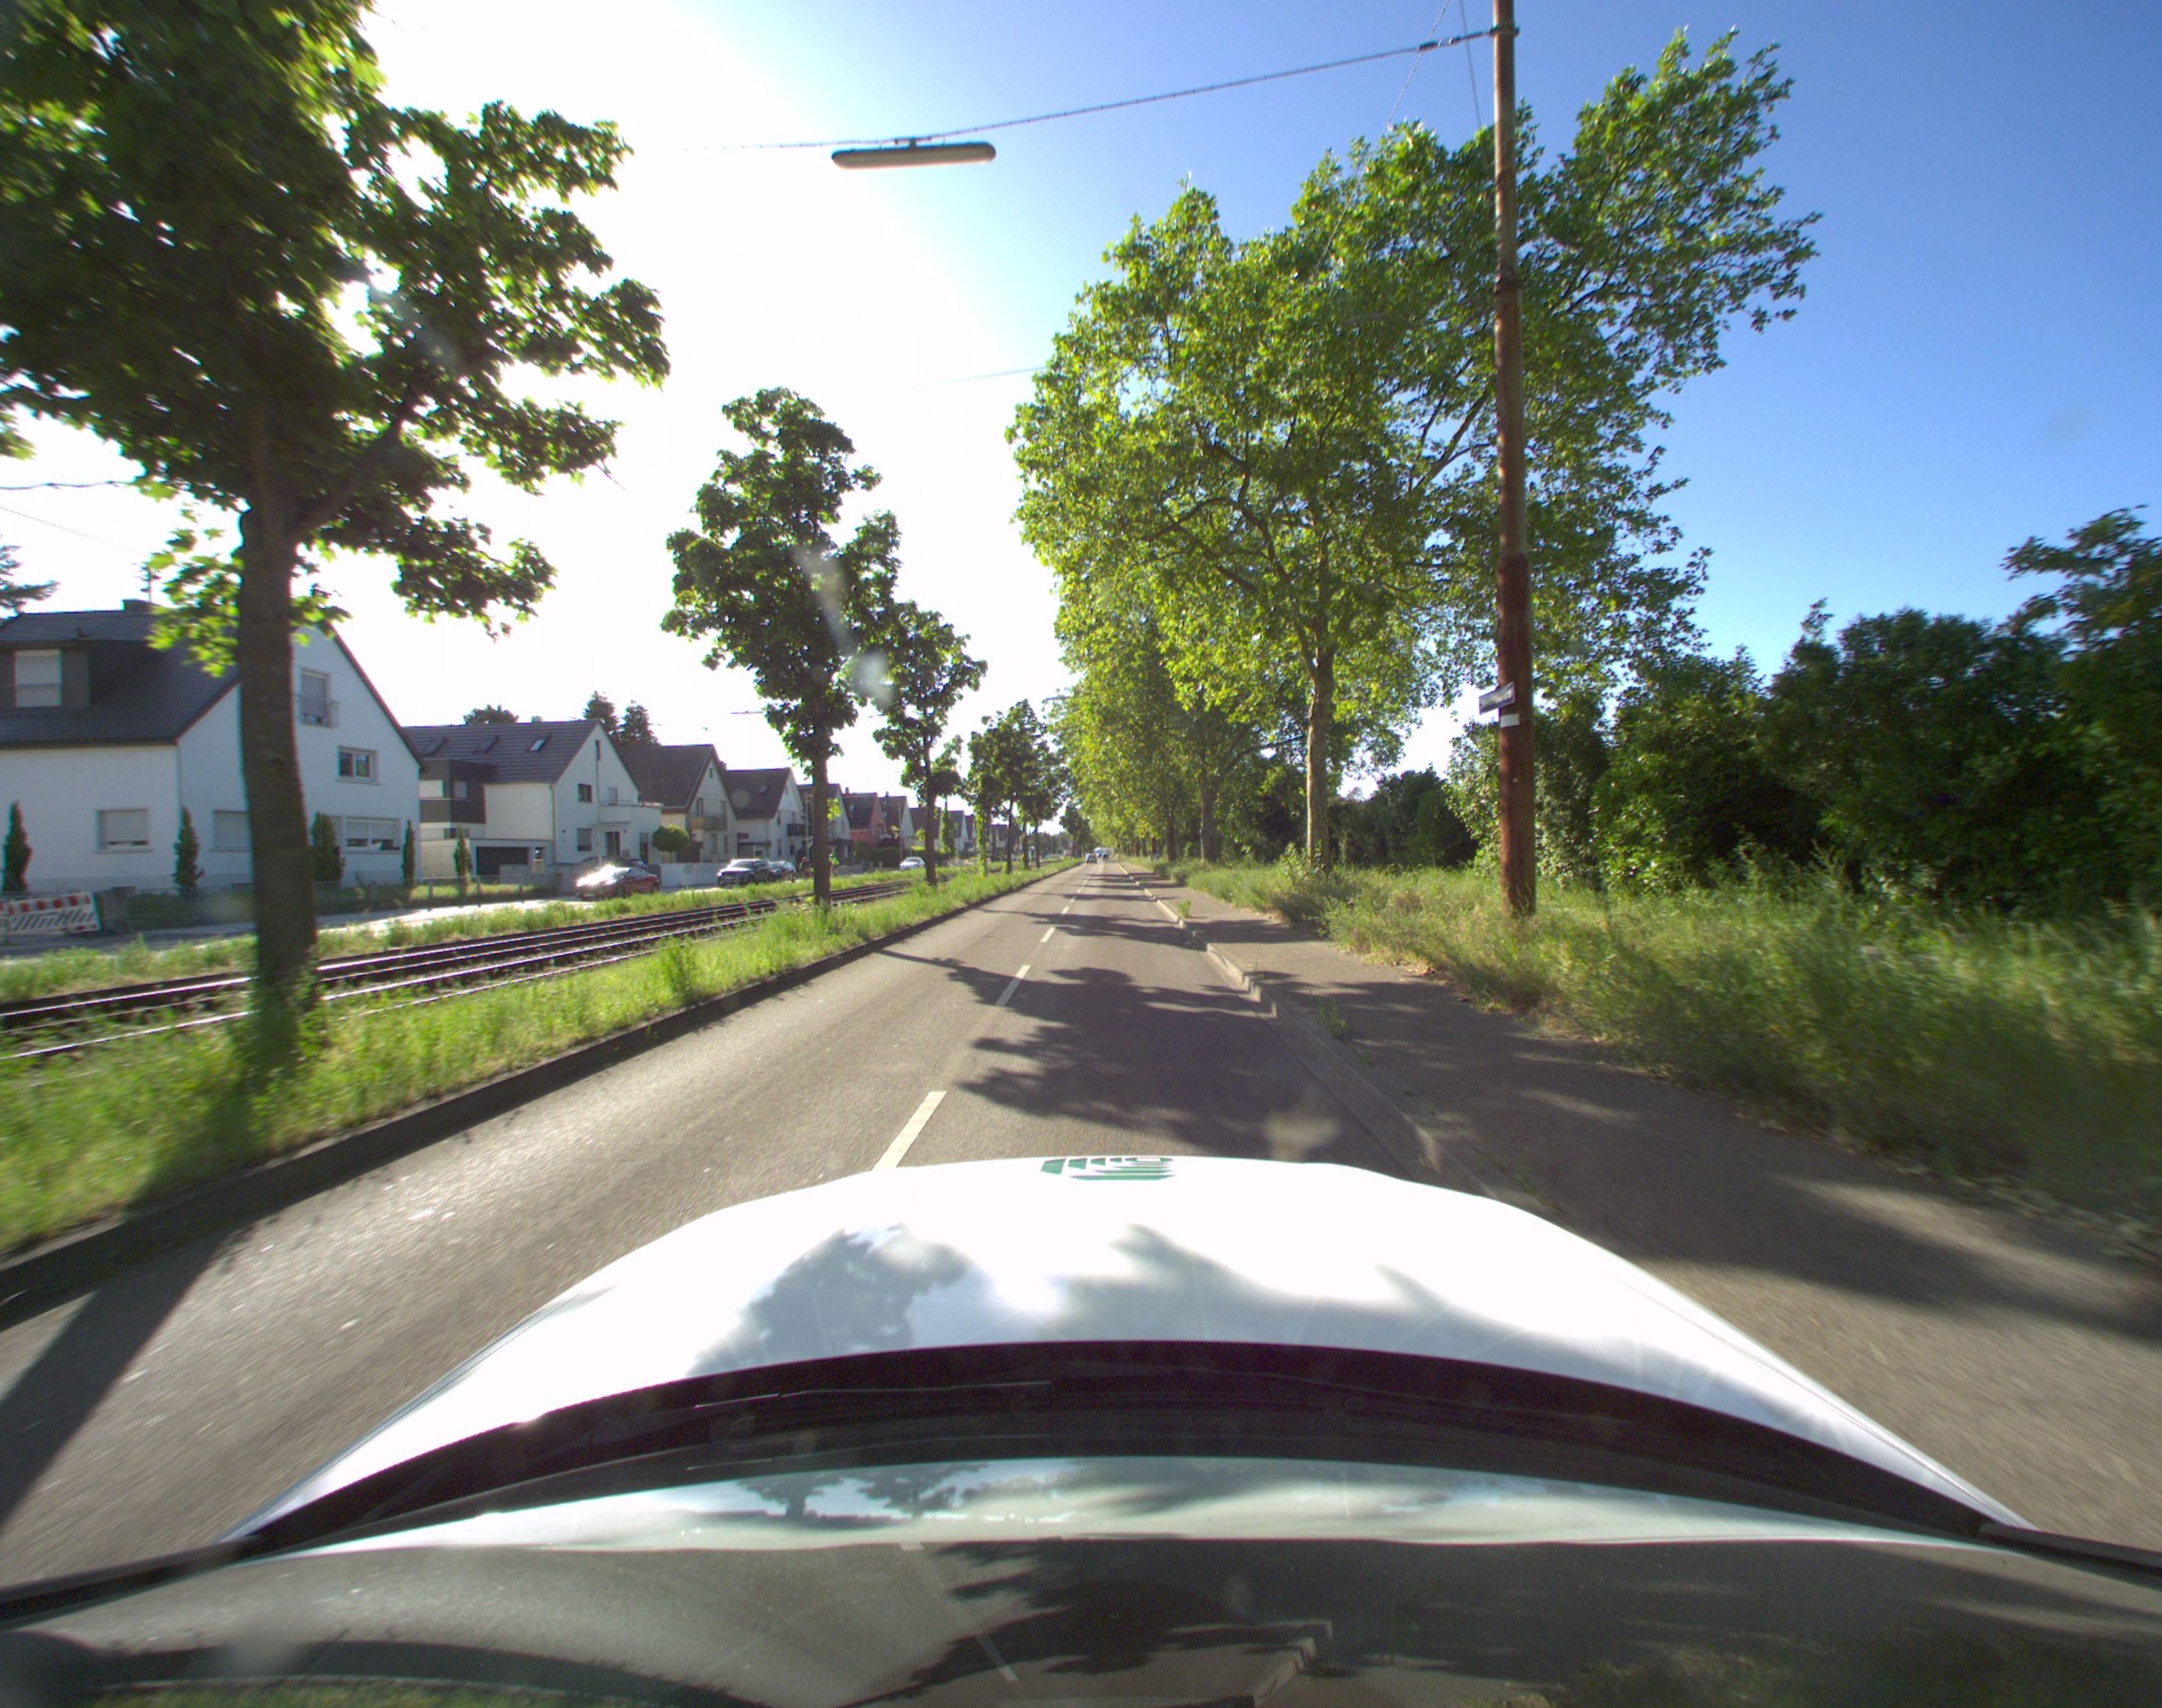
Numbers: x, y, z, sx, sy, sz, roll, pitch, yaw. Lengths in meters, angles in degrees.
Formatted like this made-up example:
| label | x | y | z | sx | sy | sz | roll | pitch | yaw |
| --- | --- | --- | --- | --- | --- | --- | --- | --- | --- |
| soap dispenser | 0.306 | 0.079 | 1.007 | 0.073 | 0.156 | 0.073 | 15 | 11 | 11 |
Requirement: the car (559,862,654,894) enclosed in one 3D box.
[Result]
| label | x | y | z | sx | sy | sz | roll | pitch | yaw |
| --- | --- | --- | --- | --- | --- | --- | --- | --- | --- |
| car | -25.661 | 1.276 | 44.150 | 3.977 | 1.669 | 1.998 | -1 | 0 | -3 |

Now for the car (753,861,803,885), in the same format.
| label | x | y | z | sx | sy | sz | roll | pitch | yaw |
| --- | --- | --- | --- | --- | --- | --- | --- | --- | --- |
| car | -19.390 | 1.219 | 52.276 | 1.608 | 1.451 | 3.990 | -1 | 0 | 2 |

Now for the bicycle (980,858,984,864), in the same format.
| label | x | y | z | sx | sy | sz | roll | pitch | yaw |
| --- | --- | --- | --- | --- | --- | --- | --- | --- | --- |
| bicycle | -15.154 | 1.079 | 124.097 | 0.440 | 0.901 | 2.059 | 0 | 0 | -3 |

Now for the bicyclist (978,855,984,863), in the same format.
| label | x | y | z | sx | sy | sz | roll | pitch | yaw |
| --- | --- | --- | --- | --- | --- | --- | --- | --- | --- |
| bicyclist | -15.207 | 0.739 | 124.272 | 0.796 | 1.278 | 0.736 | 0 | -1 | -3 |

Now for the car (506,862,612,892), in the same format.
| label | x | y | z | sx | sy | sz | roll | pitch | yaw |
| --- | --- | --- | --- | --- | --- | --- | --- | --- | --- |
| car | -26.949 | 1.176 | 42.138 | 4.202 | 1.463 | 1.936 | -1 | 0 | -3 |

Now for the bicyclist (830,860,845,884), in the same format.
| label | x | y | z | sx | sy | sz | roll | pitch | yaw |
| --- | --- | --- | --- | --- | --- | --- | --- | --- | --- |
| bicyclist | -17.152 | 1.249 | 57.333 | 0.686 | 1.652 | 0.882 | -2 | 0 | 1 |

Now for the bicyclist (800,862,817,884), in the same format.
| label | x | y | z | sx | sy | sz | roll | pitch | yaw |
| --- | --- | --- | --- | --- | --- | --- | --- | --- | --- |
| bicyclist | -17.342 | 1.219 | 51.809 | 0.686 | 1.337 | 0.882 | -2 | 0 | 1 |

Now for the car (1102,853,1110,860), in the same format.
| label | x | y | z | sx | sy | sz | roll | pitch | yaw |
| --- | --- | --- | --- | --- | --- | --- | --- | --- | --- |
| car | 5.918 | 0.605 | 192.548 | 1.754 | 1.513 | 3.278 | -1 | 0 | 2 |

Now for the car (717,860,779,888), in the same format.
| label | x | y | z | sx | sy | sz | roll | pitch | yaw |
| --- | --- | --- | --- | --- | --- | --- | --- | --- | --- |
| car | -19.569 | 1.124 | 48.013 | 1.637 | 1.568 | 4.389 | -1 | 0 | 3 |

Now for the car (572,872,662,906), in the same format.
| label | x | y | z | sx | sy | sz | roll | pitch | yaw |
| --- | --- | --- | --- | --- | --- | --- | --- | --- | --- |
| car | -20.171 | 1.478 | 35.599 | 1.487 | 1.326 | 4.003 | -1 | 0 | 3 |

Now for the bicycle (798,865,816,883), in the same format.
| label | x | y | z | sx | sy | sz | roll | pitch | yaw |
| --- | --- | --- | --- | --- | --- | --- | --- | --- | --- |
| bicycle | -17.354 | 1.279 | 51.595 | 0.397 | 1.070 | 1.881 | -2 | 0 | 2 |

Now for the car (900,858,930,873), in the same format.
| label | x | y | z | sx | sy | sz | roll | pitch | yaw |
| --- | --- | --- | --- | --- | --- | --- | --- | --- | --- |
| car | -18.569 | 1.280 | 91.388 | 1.984 | 1.599 | 4.738 | -1 | 0 | 5 |

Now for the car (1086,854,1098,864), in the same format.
| label | x | y | z | sx | sy | sz | roll | pitch | yaw |
| --- | --- | --- | --- | --- | --- | --- | --- | --- | --- |
| car | 1.742 | 0.783 | 125.443 | 1.732 | 1.401 | 3.278 | -1 | 0 | 1 |

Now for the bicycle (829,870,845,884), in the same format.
| label | x | y | z | sx | sy | sz | roll | pitch | yaw |
| --- | --- | --- | --- | --- | --- | --- | --- | --- | --- |
| bicycle | -17.084 | 1.604 | 56.990 | 0.397 | 0.927 | 2.097 | -2 | 0 | 2 |
